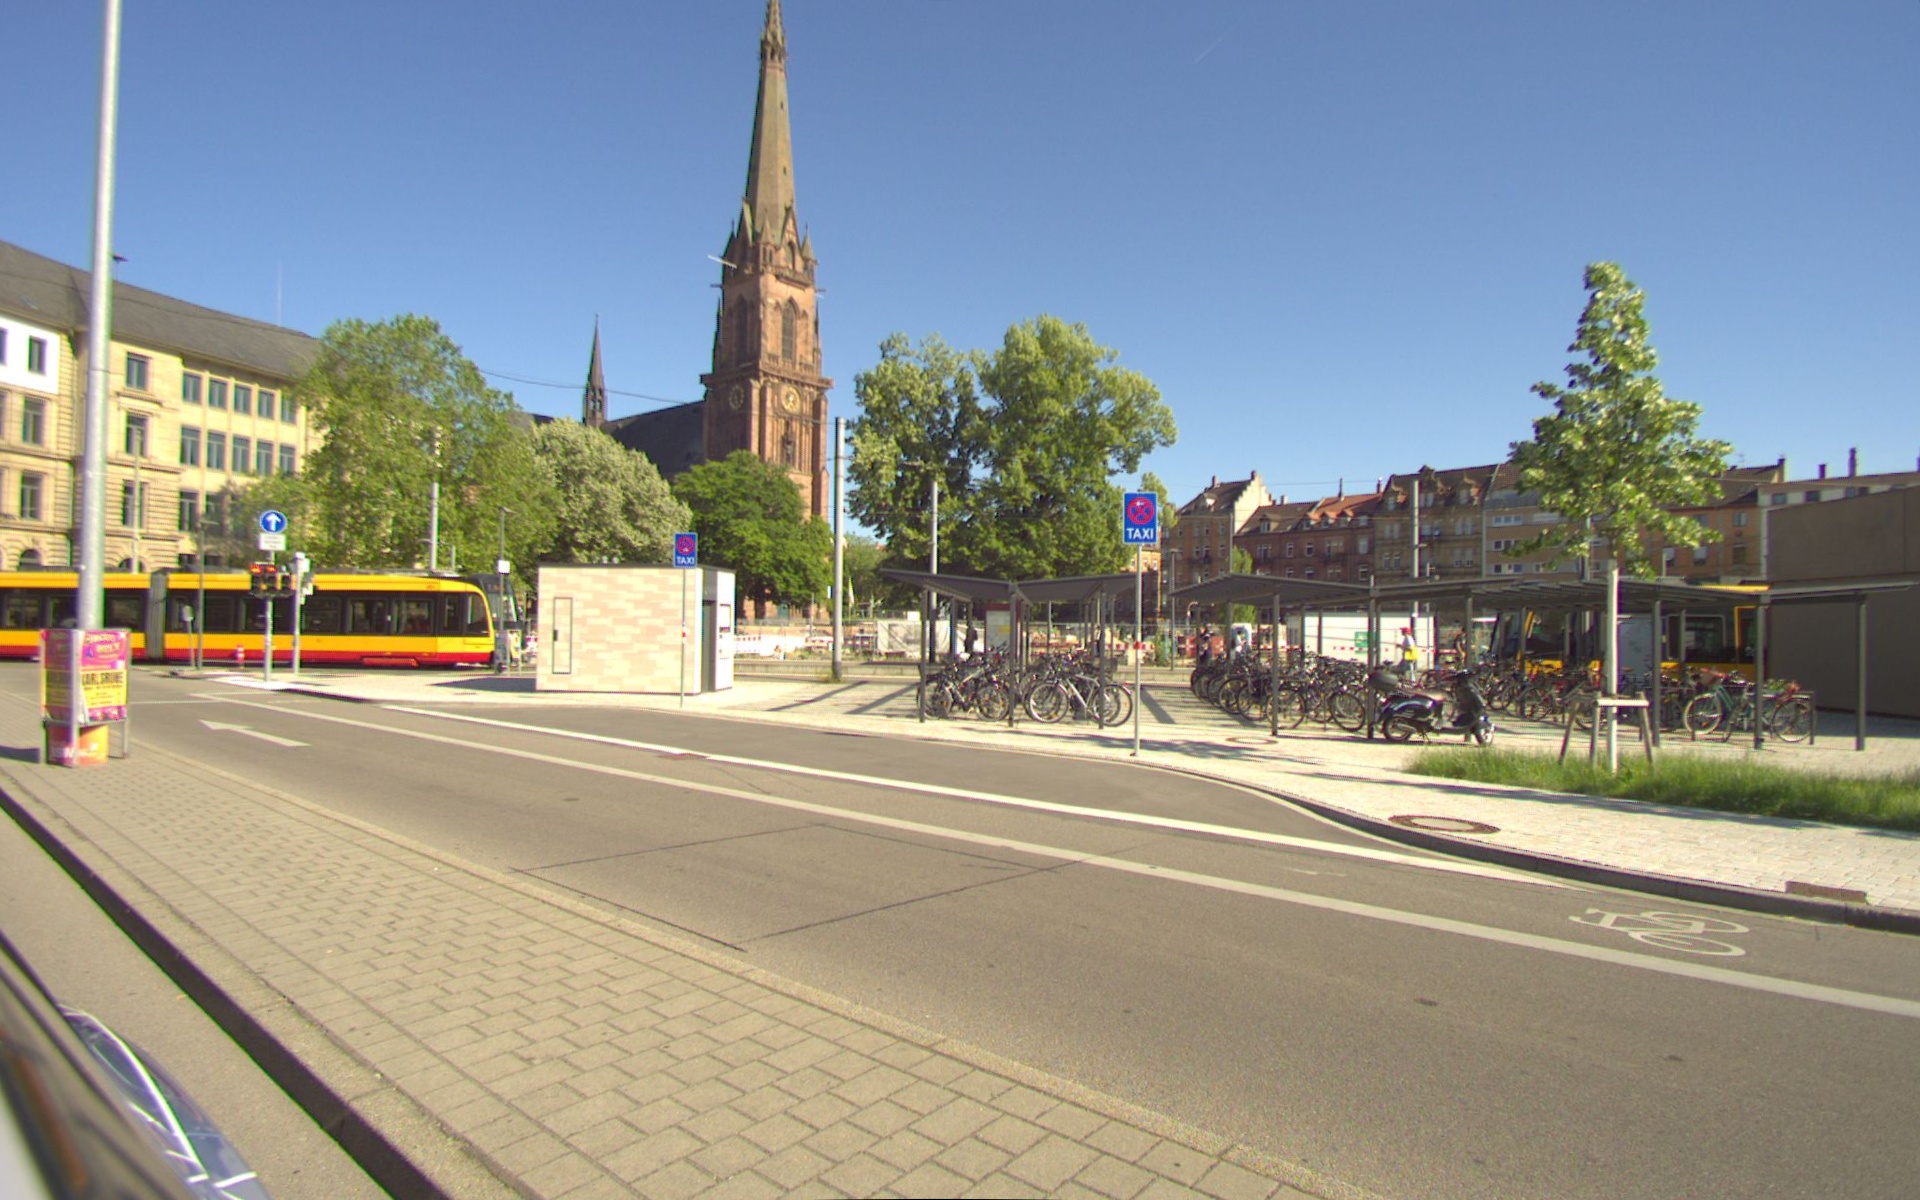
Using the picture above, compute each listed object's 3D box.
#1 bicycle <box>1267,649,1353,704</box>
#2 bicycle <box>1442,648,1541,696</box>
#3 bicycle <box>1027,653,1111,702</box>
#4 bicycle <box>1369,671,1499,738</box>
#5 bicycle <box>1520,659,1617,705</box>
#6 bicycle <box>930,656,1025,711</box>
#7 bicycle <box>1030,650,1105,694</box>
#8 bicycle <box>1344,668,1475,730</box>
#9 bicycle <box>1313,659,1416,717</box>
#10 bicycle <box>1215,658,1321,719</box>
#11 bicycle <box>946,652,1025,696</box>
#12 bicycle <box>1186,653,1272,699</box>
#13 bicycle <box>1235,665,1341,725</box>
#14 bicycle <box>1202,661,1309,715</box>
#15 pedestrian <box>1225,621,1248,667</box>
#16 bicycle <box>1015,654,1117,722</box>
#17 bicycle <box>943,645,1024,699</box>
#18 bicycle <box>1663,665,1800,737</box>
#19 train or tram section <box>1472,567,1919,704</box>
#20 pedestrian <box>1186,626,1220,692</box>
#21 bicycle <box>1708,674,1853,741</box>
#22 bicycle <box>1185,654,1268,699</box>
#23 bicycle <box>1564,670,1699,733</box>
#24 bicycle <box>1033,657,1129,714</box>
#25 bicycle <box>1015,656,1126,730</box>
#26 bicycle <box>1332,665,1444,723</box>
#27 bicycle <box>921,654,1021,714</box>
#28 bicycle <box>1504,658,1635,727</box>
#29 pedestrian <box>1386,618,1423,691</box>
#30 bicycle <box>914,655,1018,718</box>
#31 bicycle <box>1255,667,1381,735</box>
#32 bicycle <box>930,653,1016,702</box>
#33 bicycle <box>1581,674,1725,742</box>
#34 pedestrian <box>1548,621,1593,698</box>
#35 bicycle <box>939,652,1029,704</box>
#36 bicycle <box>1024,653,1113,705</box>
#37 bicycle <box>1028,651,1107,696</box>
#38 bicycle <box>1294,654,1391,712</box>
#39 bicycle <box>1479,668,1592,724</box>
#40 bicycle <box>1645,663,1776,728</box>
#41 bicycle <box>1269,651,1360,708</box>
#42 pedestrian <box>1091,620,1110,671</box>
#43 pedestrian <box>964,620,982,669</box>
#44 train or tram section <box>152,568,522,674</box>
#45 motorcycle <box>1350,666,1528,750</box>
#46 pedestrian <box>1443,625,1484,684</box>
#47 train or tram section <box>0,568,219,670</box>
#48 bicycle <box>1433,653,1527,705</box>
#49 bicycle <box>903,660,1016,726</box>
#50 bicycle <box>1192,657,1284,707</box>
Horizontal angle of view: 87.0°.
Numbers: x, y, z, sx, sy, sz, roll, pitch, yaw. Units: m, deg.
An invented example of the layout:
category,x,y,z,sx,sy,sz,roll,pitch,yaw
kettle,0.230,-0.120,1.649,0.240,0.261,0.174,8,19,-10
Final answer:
category,x,y,z,sx,sy,sz,roll,pitch,yaw
bicycle,8.235,1.787,23.876,1.808,1.242,0.627,0,-2,7
bicycle,11.686,1.579,22.307,1.809,1.015,0.627,0,-2,9
bicycle,2.377,1.690,22.123,1.808,1.015,0.627,0,-2,7
bicycle,7.767,1.706,16.650,1.808,1.015,0.627,0,-2,7
bicycle,14.052,1.883,23.406,1.808,1.015,0.627,0,-2,7
bicycle,0.360,1.638,19.984,1.809,1.015,0.627,0,-2,9
bicycle,2.632,1.761,24.809,1.808,1.015,0.627,0,-2,7
bicycle,7.919,1.733,17.876,2.003,1.015,0.627,0,-2,7
bicycle,8.074,1.749,20.262,1.808,1.088,0.627,0,-2,7
bicycle,5.876,1.685,19.410,1.859,1.101,0.626,0,-2,8
bicycle,0.619,1.753,24.114,1.809,1.015,0.627,0,-2,9
bicycle,6.121,1.723,23.110,1.807,1.015,0.628,0,-2,5
bicycle,5.853,1.688,18.132,1.731,1.015,0.547,0,-2,10
bicycle,5.948,1.763,20.431,1.978,1.015,0.628,0,-2,4
pedestrian,12.375,1.948,45.354,0.861,2.029,0.749,0,-2,5
bicycle,1.909,1.580,18.276,1.808,1.157,0.627,0,-2,7
bicycle,0.561,1.649,23.415,1.809,1.188,0.627,0,-2,9
bicycle,12.991,1.690,17.064,1.805,1.155,0.629,0,-2,0
train or tram section,21.502,0.955,28.692,12.179,3.628,2.748,0,-2,7
pedestrian,6.276,1.511,26.156,0.762,1.672,0.604,0,-2,4
bicycle,13.020,1.697,16.077,1.803,1.015,0.629,1,-2,-3
bicycle,6.251,1.788,23.798,1.808,1.015,0.627,0,-2,6
bicycle,11.603,1.744,17.526,1.872,1.004,0.499,0,-2,13
bicycle,2.320,1.638,19.541,1.808,1.015,0.745,0,-2,7
bicycle,1.864,1.559,17.133,1.808,1.167,0.627,1,-2,7
bicycle,8.000,1.751,18.971,1.808,1.015,0.627,0,-2,7
bicycle,0.212,1.546,18.765,1.809,1.059,0.571,0,-2,9
bicycle,11.297,1.706,18.801,2.029,1.218,0.505,0,-2,8
pedestrian,11.589,1.401,26.384,0.595,1.869,0.683,2,-2,-38
bicycle,0.116,1.541,18.237,1.809,1.074,0.627,0,-2,9
bicycle,5.977,1.679,16.978,1.871,1.050,0.688,0,-2,9
bicycle,0.289,1.693,22.171,1.809,1.015,0.627,0,-2,9
bicycle,11.158,1.725,16.349,1.809,1.015,0.627,0,-2,9
pedestrian,15.283,1.473,25.348,0.700,1.869,0.751,2,-2,-38
bicycle,0.512,1.618,21.139,1.809,1.015,0.627,0,-2,9
bicycle,2.228,1.612,20.848,1.808,1.015,0.627,0,-2,7
bicycle,2.510,1.705,23.609,1.808,1.015,0.627,0,-2,7
bicycle,8.110,1.748,21.528,1.808,1.170,0.627,0,-2,7
bicycle,11.261,1.875,19.841,1.809,1.015,0.627,0,-2,9
bicycle,13.590,1.719,18.360,1.808,1.101,0.627,0,-2,7
bicycle,7.928,1.770,22.678,1.808,1.198,0.647,0,-2,7
pedestrian,5.136,1.657,37.032,0.673,1.869,0.604,0,-2,6
pedestrian,0.490,1.698,39.072,0.671,1.869,0.605,0,-2,-1
train or tram section,-22.440,0.745,36.709,12.174,3.628,2.828,0,-2,6
motorcycle,7.168,1.606,15.233,2.333,1.167,0.610,0,-2,7
pedestrian,17.664,1.904,35.510,0.997,2.029,0.872,0,-2,0
train or tram section,-34.582,0.690,37.986,12.174,3.628,2.796,0,-2,6
bicycle,12.000,1.816,23.403,1.809,1.140,0.627,0,-2,9
bicycle,0.005,1.586,17.369,1.847,1.015,0.699,2,-2,9
bicycle,5.969,1.759,21.806,1.805,1.015,0.629,0,-2,0
